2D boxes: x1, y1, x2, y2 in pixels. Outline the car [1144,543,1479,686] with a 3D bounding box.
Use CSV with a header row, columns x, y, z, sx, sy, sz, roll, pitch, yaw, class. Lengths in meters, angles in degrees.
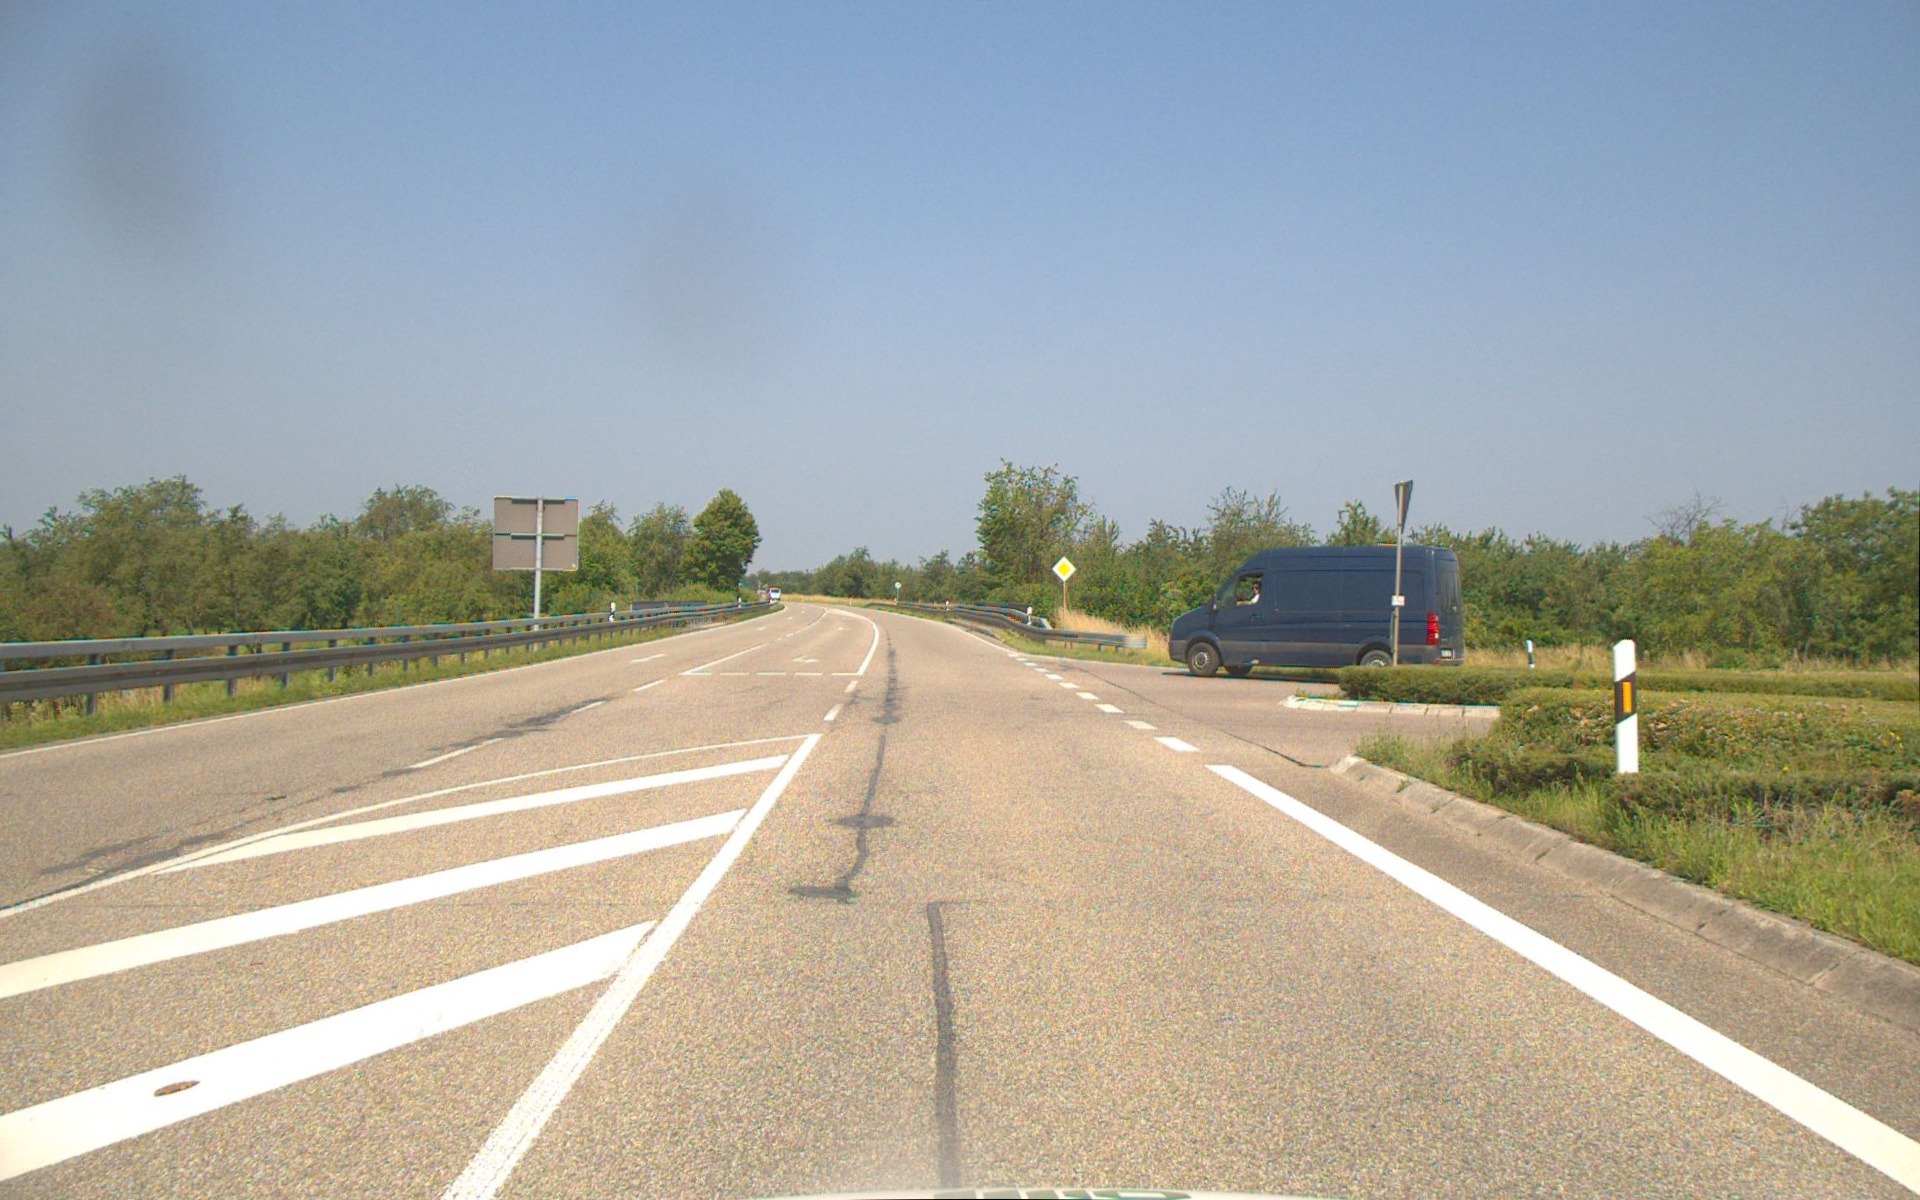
x,y,z,sx,sy,sz,roll,pitch,yaw,class
6.904,0.249,32.846,6.178,2.620,2.057,1,0,32,car
